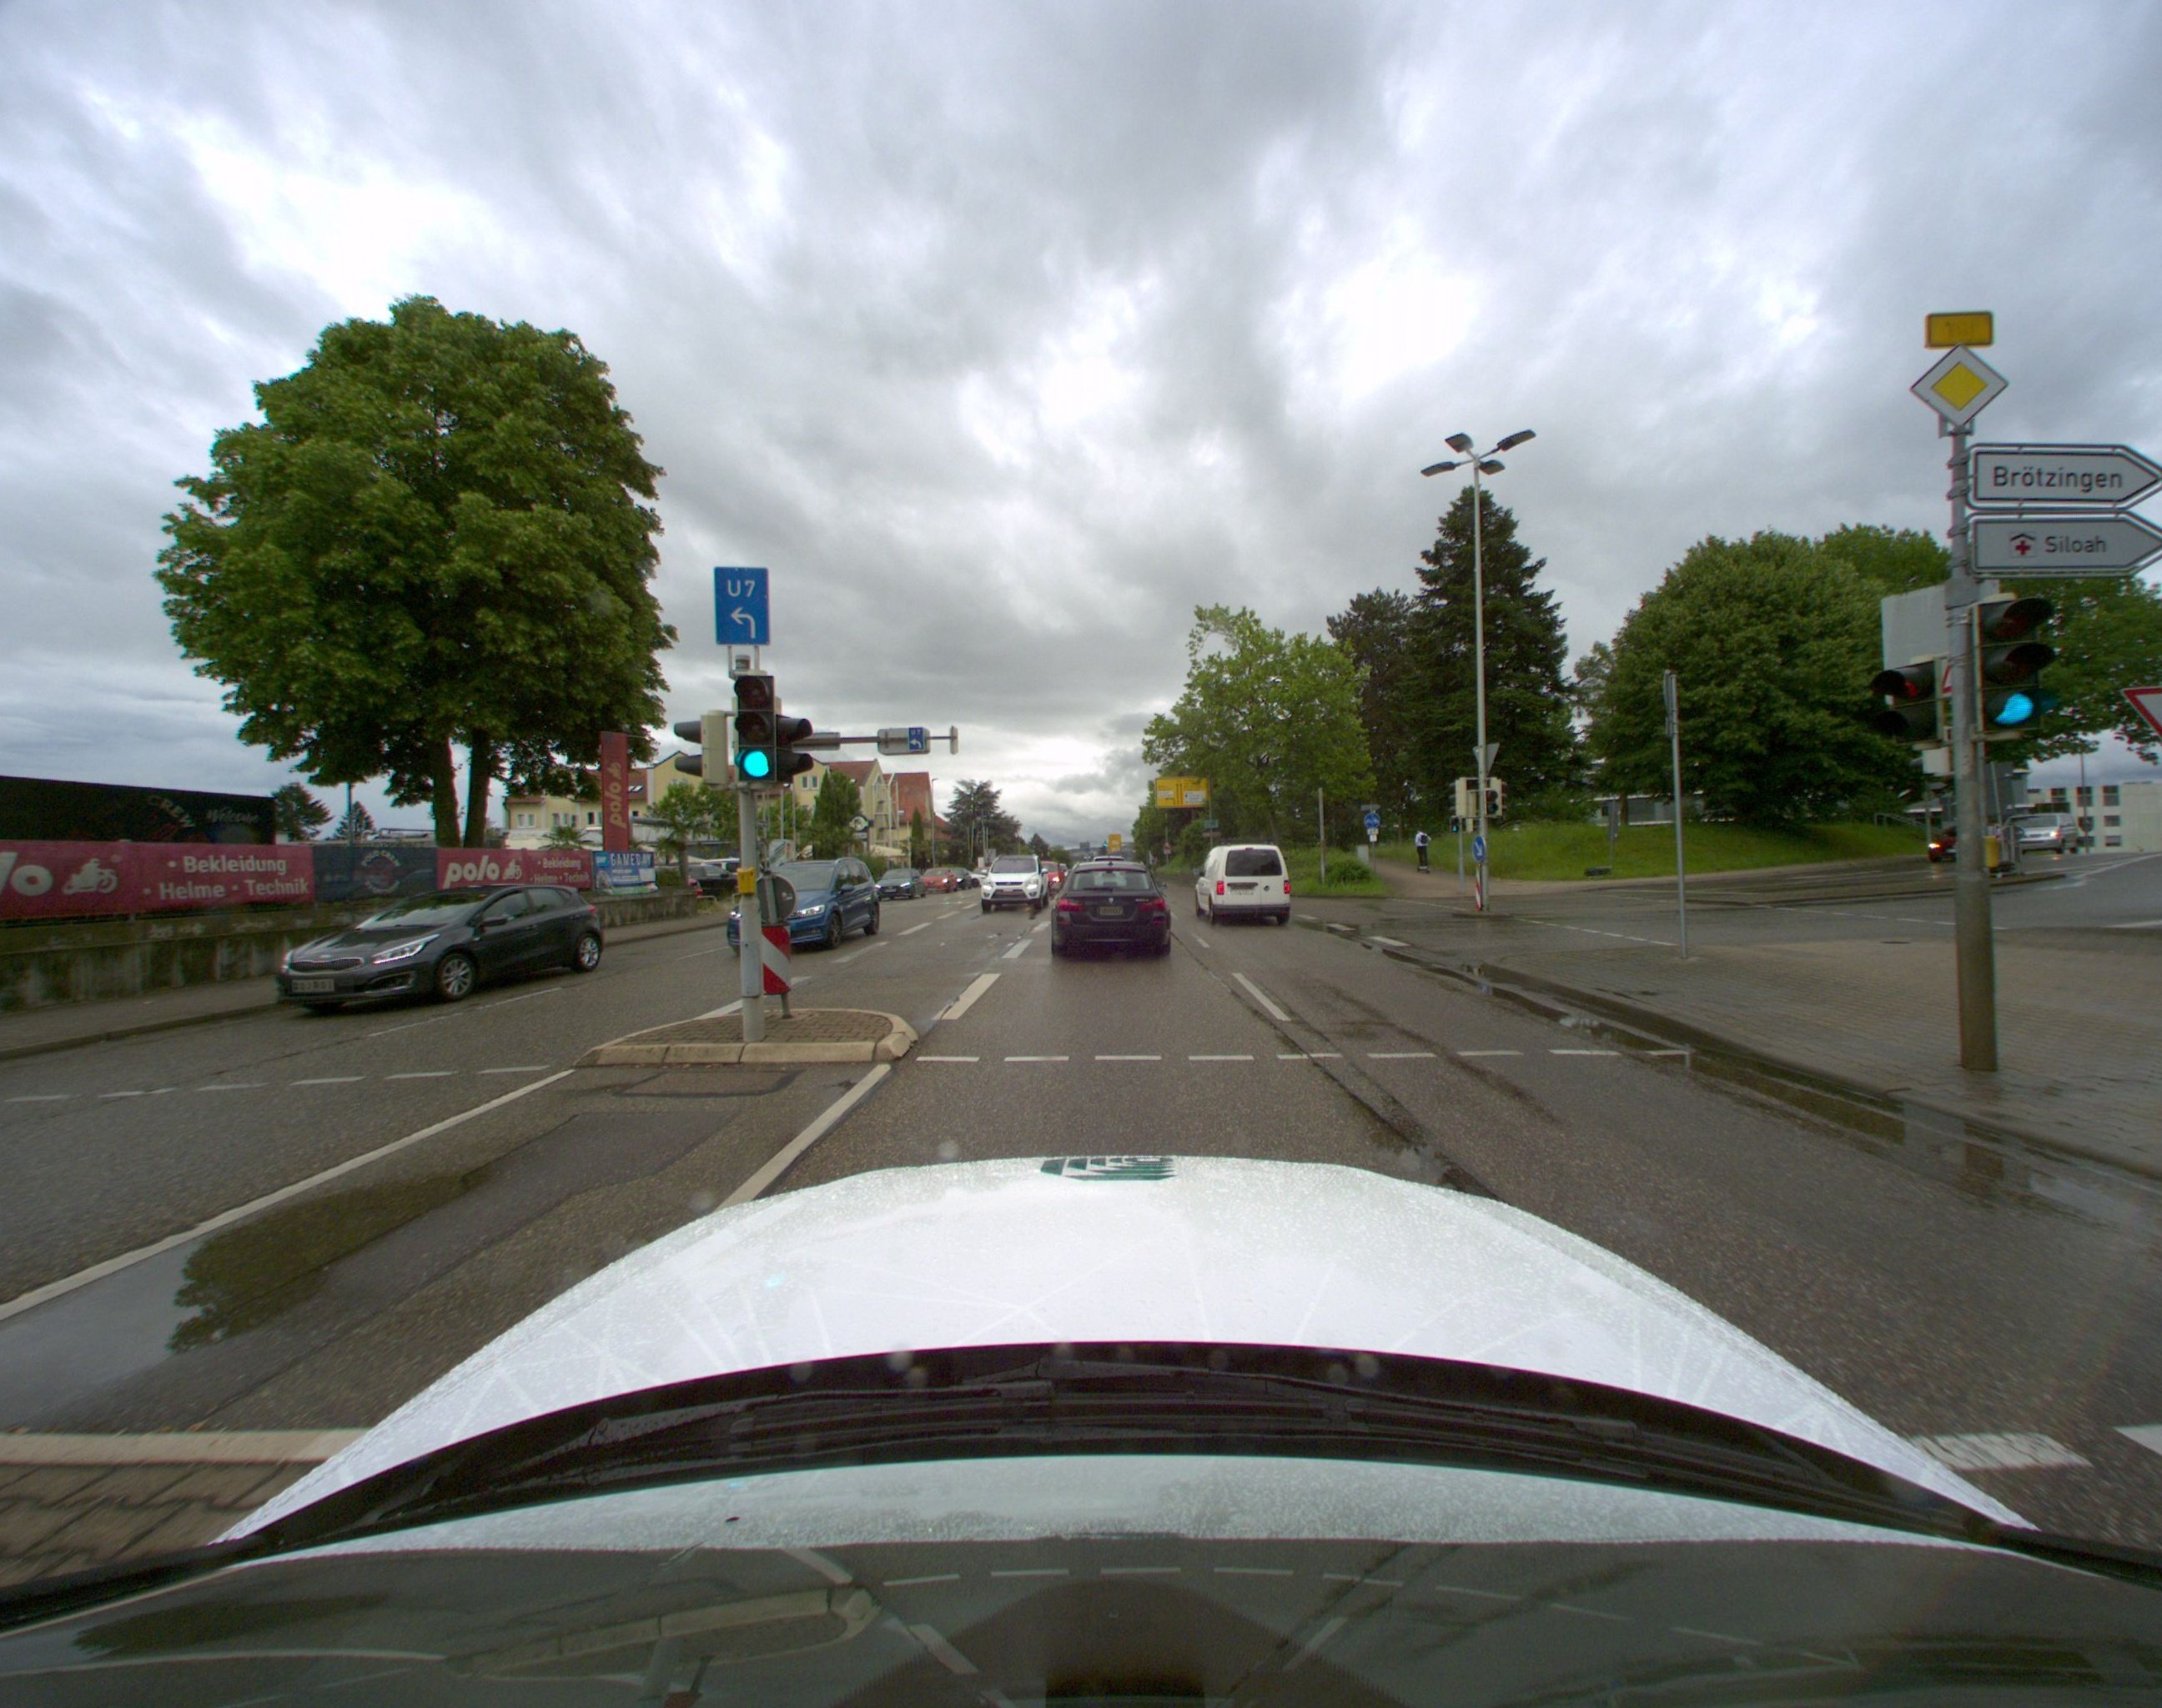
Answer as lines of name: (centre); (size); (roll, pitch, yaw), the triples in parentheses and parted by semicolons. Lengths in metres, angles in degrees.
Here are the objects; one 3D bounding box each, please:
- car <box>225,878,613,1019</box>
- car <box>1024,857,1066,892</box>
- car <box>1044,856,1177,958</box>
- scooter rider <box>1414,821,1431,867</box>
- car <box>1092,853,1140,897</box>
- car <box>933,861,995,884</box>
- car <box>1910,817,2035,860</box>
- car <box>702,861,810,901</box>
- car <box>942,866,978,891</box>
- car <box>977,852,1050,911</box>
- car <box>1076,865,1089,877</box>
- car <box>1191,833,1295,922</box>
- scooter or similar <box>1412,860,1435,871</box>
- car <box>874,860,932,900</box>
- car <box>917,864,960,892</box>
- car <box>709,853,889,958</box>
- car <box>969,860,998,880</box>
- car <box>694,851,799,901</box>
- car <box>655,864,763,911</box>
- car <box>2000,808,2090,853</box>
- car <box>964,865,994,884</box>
car: (-8.756, 1.142, 11.374); (1.910, 1.379, 4.127); (-3, 0, 1)
car: (-1.586, 0.928, 36.967); (1.626, 1.434, 4.144); (-2, -1, 1)
car: (0.492, 0.784, 13.684); (1.891, 1.441, 4.002); (-1, -1, 2)
scooter rider: (14.987, -0.435, 35.731); (0.499, 1.965, 0.548); (-2, 0, 1)
car: (1.430, 0.812, 33.563); (1.861, 1.673, 4.002); (-1, 0, 2)
car: (-8.333, 1.341, 58.065); (4.006, 1.477, 1.647); (-2, -1, 10)
car: (35.343, -0.597, 32.297); (3.999, 1.428, 1.841); (-3, -1, -19)
car: (-16.990, 1.385, 42.595); (5.024, 1.702, 1.982); (-3, -3, -27)
car: (-7.817, 1.574, 52.754); (1.597, 1.400, 4.404); (-3, 0, 0)
car: (-2.038, 0.788, 25.806); (1.833, 1.649, 4.298); (-2, 0, 1)
car: (0.259, 2.602, 123.012); (1.861, 1.673, 4.002); (-1, 0, 2)
car: (3.725, 0.480, 19.330); (1.758, 1.877, 3.806); (-1, 0, 1)
scooter or similar: (15.017, 0.504, 35.707); (0.485, 0.403, 1.256); (-2, 0, 1)
car: (-8.271, 1.158, 38.110); (1.670, 1.618, 4.001); (-3, 0, 1)
car: (-7.962, 1.320, 45.838); (1.617, 1.332, 3.947); (-3, 0, 1)
car: (-5.222, 0.856, 15.759); (1.833, 1.649, 4.298); (-3, 0, 1)
car: (-7.956, 1.314, 66.800); (1.764, 1.569, 4.001); (-1, 0, 1)
car: (-15.808, 1.004, 38.494); (4.410, 2.013, 1.982); (-3, 0, -27)
car: (-13.176, 1.194, 28.836); (3.572, 1.504, 1.676); (-3, -2, 30)
car: (45.035, -1.097, 38.051); (4.010, 1.859, 1.835); (-3, -1, -28)
car: (-7.383, 1.457, 59.245); (1.617, 1.149, 3.856); (-3, 0, 1)
